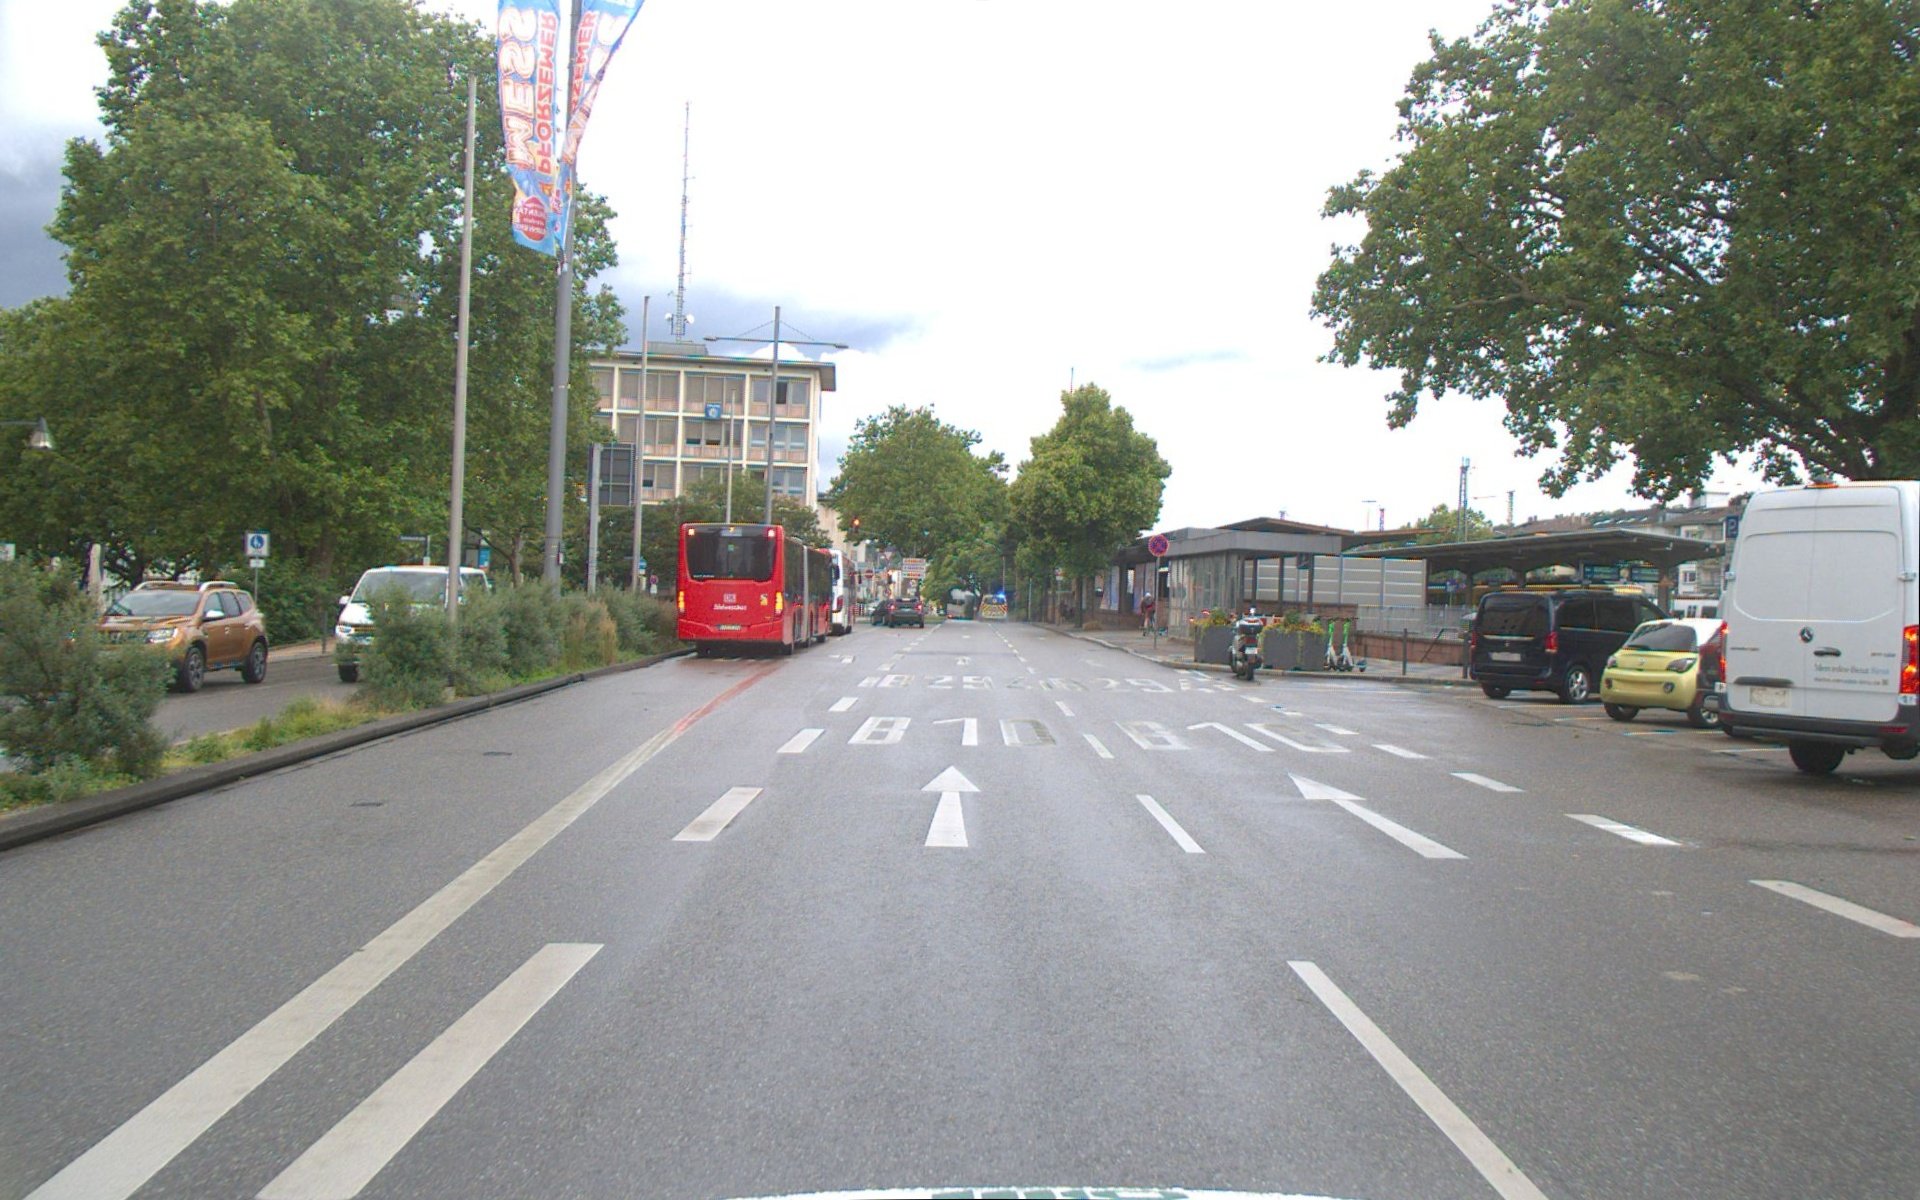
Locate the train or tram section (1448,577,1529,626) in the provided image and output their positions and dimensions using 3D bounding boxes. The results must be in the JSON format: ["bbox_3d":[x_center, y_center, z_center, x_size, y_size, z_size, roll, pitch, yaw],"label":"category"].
[{"bbox_3d":[37.050,0.143,116.335,2.600,3.340,9.131,0,0,-1],"label":"train or tram section"}]

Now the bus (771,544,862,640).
[{"bbox_3d":[-5.708,-0.286,67.712,2.895,3.499,12.555,1,0,-1],"label":"bus"}]

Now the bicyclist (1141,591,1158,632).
[{"bbox_3d":[7.376,0.448,64.382,0.523,1.565,0.694,-1,0,-3],"label":"bicyclist"}]

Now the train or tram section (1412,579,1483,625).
[{"bbox_3d":[36.870,0.156,125.290,2.600,3.340,8.760,0,0,-1],"label":"train or tram section"}]

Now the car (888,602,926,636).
[{"bbox_3d":[-2.760,0.976,86.356,1.925,1.668,4.357,1,0,-2],"label":"car"}]

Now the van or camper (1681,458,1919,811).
[{"bbox_3d":[10.127,0.307,16.308,6.443,2.920,2.256,1,0,-31],"label":"van or camper"}]

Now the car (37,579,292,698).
[{"bbox_3d":[-12.431,0.555,26.169,1.952,1.710,4.102,1,0,1],"label":"car"}]

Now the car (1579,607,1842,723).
[{"bbox_3d":[10.885,0.896,23.960,3.540,1.551,1.745,1,0,-30],"label":"car"}]

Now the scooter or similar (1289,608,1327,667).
[{"bbox_3d":[7.612,0.814,36.163,0.405,1.175,1.261,3,4,30],"label":"scooter or similar"}]

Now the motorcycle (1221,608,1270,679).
[{"bbox_3d":[5.739,0.854,33.307,0.630,1.376,2.109,1,0,0],"label":"motorcycle"}]

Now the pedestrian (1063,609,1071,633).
[{"bbox_3d":[7.263,1.407,112.289,0.448,1.596,0.392,-1,-1,32],"label":"pedestrian"}]

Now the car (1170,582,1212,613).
[{"bbox_3d":[14.944,-0.158,107.157,1.953,1.904,4.596,1,0,-2],"label":"car"}]

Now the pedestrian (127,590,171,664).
[{"bbox_3d":[-17.259,0.564,35.213,0.677,1.556,0.725,0,0,-13],"label":"pedestrian"}]

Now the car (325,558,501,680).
[{"bbox_3d":[-9.773,0.318,29.954,1.883,2.008,4.851,1,0,-4],"label":"car"}]

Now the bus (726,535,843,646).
[{"bbox_3d":[-5.426,-0.284,52.613,2.696,3.187,8.843,1,0,0],"label":"bus"}]

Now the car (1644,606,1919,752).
[{"bbox_3d":[10.825,0.934,20.937,4.177,1.663,1.865,1,0,-30],"label":"car"}]

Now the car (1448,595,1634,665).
[{"bbox_3d":[16.632,0.852,47.514,4.592,1.907,2.107,1,0,-4],"label":"car"}]

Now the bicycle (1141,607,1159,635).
[{"bbox_3d":[7.395,0.808,64.414,0.437,1.034,1.677,-1,0,-2],"label":"bicycle"}]

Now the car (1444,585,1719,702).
[{"bbox_3d":[10.959,0.727,29.111,4.634,1.907,2.088,1,0,-30],"label":"car"}]

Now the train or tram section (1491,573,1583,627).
[{"bbox_3d":[37.287,0.019,107.291,2.600,3.340,9.131,0,0,-1],"label":"train or tram section"}]

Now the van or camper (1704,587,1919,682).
[{"bbox_3d":[19.295,0.760,37.240,4.192,2.025,2.020,1,0,-2],"label":"van or camper"}]

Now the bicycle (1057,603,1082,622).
[{"bbox_3d":[7.473,0.854,112.682,1.688,1.271,0.485,0,-1,32],"label":"bicycle"}]

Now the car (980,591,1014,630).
[{"bbox_3d":[2.628,0.757,117.804,2.218,2.703,3.998,1,0,-2],"label":"car"}]

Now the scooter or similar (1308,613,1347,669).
[{"bbox_3d":[7.982,0.897,35.937,0.405,1.175,1.260,3,0,30],"label":"scooter or similar"}]

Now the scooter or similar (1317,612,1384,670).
[{"bbox_3d":[8.566,0.889,36.367,1.043,1.175,1.667,3,0,0],"label":"scooter or similar"}]

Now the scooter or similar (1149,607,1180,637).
[{"bbox_3d":[8.203,0.876,66.406,0.485,1.173,1.705,1,-1,-20],"label":"scooter or similar"}]

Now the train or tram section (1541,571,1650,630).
[{"bbox_3d":[37.531,0.069,98.080,2.600,3.340,9.517,0,0,-1],"label":"train or tram section"}]

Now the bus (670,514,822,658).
[{"bbox_3d":[-5.374,-0.342,43.253,2.752,3.302,9.911,1,0,-1],"label":"bus"}]

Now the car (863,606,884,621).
[{"bbox_3d":[-8.180,1.323,156.481,1.656,1.320,4.093,2,-1,2],"label":"car"}]
